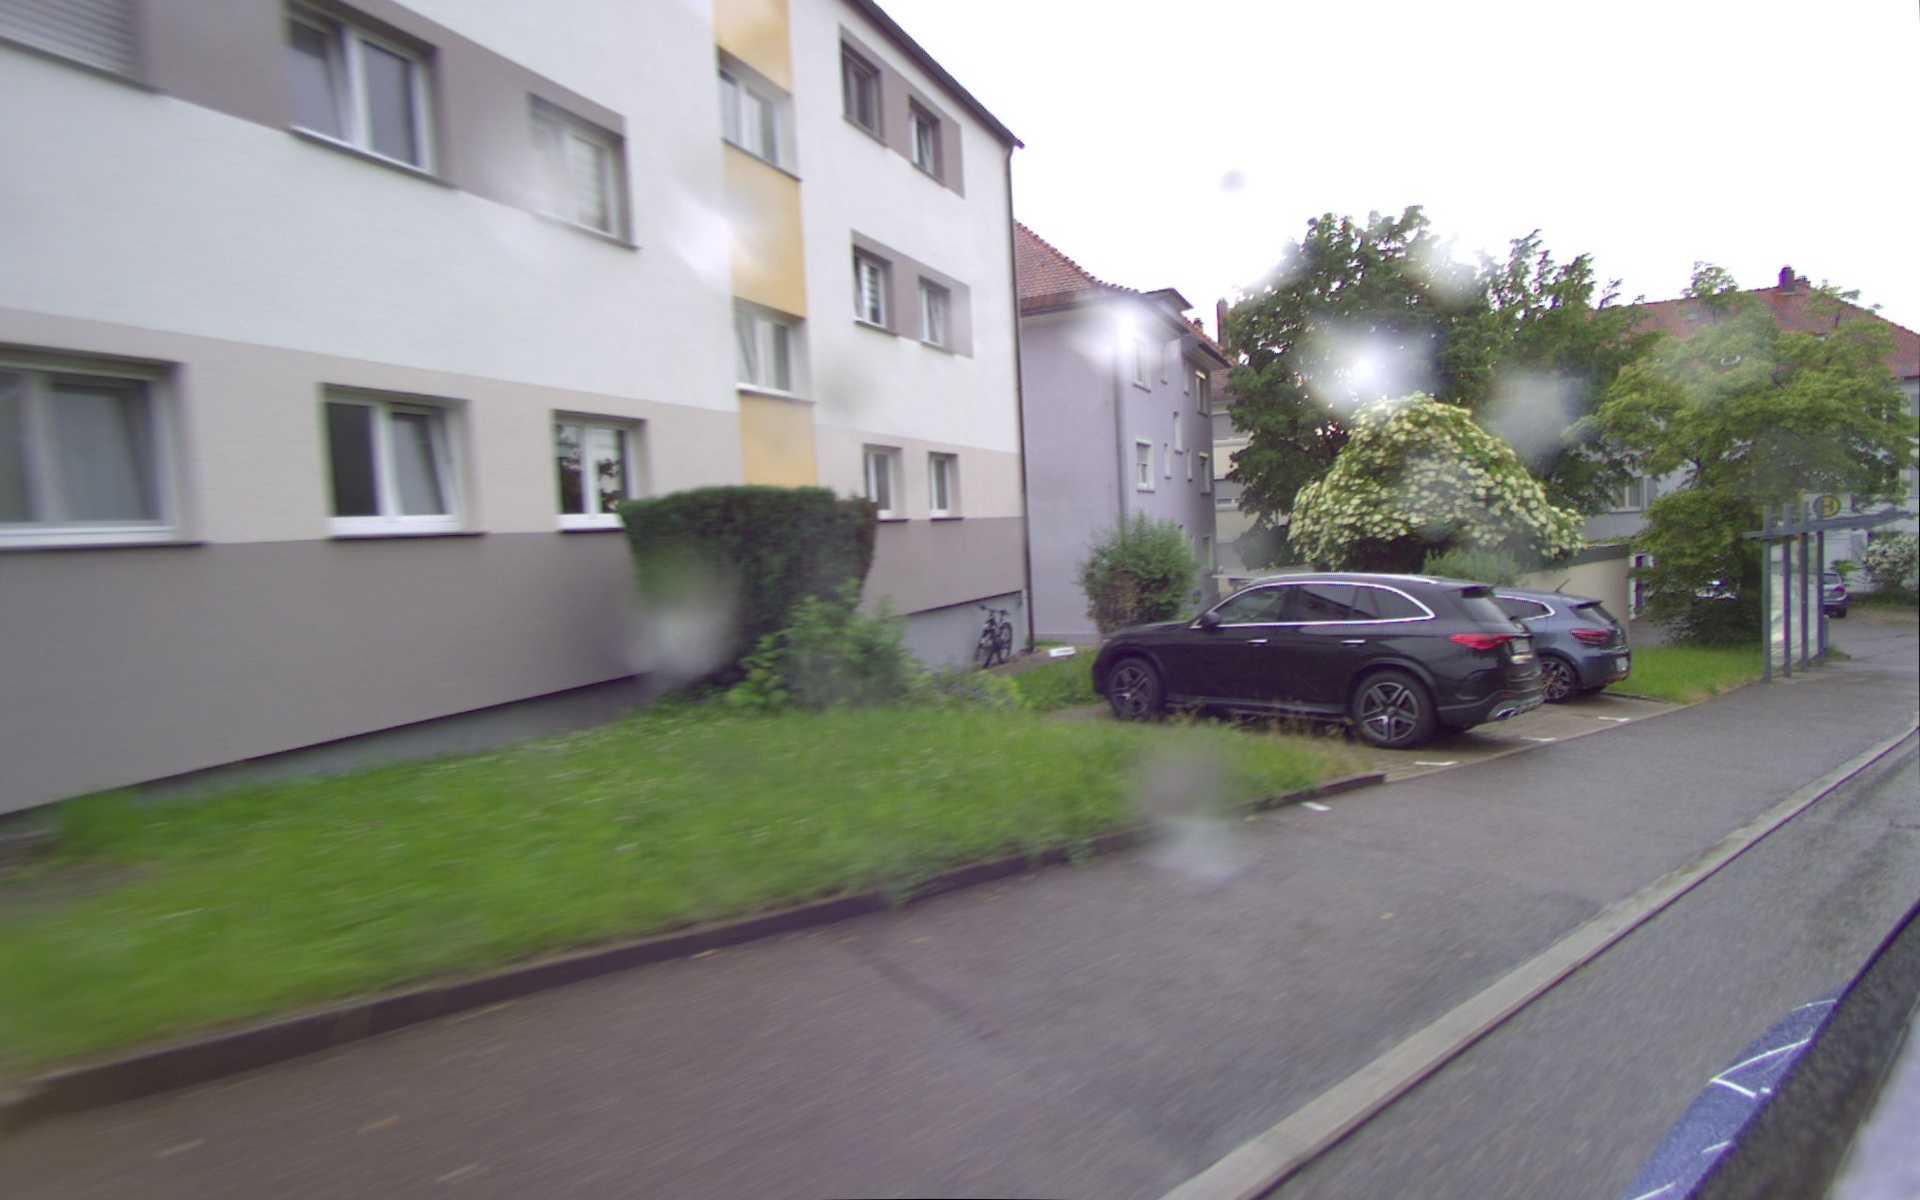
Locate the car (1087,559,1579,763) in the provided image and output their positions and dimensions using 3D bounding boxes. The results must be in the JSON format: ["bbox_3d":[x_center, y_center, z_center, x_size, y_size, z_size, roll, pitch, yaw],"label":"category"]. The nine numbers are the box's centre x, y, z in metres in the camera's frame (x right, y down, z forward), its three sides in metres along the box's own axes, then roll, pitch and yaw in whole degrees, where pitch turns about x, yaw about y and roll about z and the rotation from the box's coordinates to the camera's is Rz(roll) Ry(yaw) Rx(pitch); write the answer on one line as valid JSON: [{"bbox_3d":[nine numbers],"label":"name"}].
[{"bbox_3d":[3.718,0.444,10.692,4.526,1.681,1.827,3,2,44],"label":"car"}]

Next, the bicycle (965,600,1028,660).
[{"bbox_3d":[0.681,0.519,18.279,0.566,1.002,1.668,0,0,24],"label":"bicycle"}]

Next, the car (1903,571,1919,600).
[{"bbox_3d":[48.020,-0.740,48.255,1.688,1.425,4.102,-2,1,-18],"label":"car"}]

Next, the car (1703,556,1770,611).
[{"bbox_3d":[28.398,-0.659,37.090,1.786,1.611,4.204,4,7,36],"label":"car"}]

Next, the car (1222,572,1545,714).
[{"bbox_3d":[5.321,0.441,13.007,1.638,1.515,3.445,0,2,-41],"label":"car"}]

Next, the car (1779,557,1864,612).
[{"bbox_3d":[30.721,-0.606,36.191,1.712,1.581,3.755,3,7,32],"label":"car"}]

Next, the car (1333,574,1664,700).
[{"bbox_3d":[7.444,0.408,14.256,1.695,1.476,3.750,0,2,-41],"label":"car"}]
